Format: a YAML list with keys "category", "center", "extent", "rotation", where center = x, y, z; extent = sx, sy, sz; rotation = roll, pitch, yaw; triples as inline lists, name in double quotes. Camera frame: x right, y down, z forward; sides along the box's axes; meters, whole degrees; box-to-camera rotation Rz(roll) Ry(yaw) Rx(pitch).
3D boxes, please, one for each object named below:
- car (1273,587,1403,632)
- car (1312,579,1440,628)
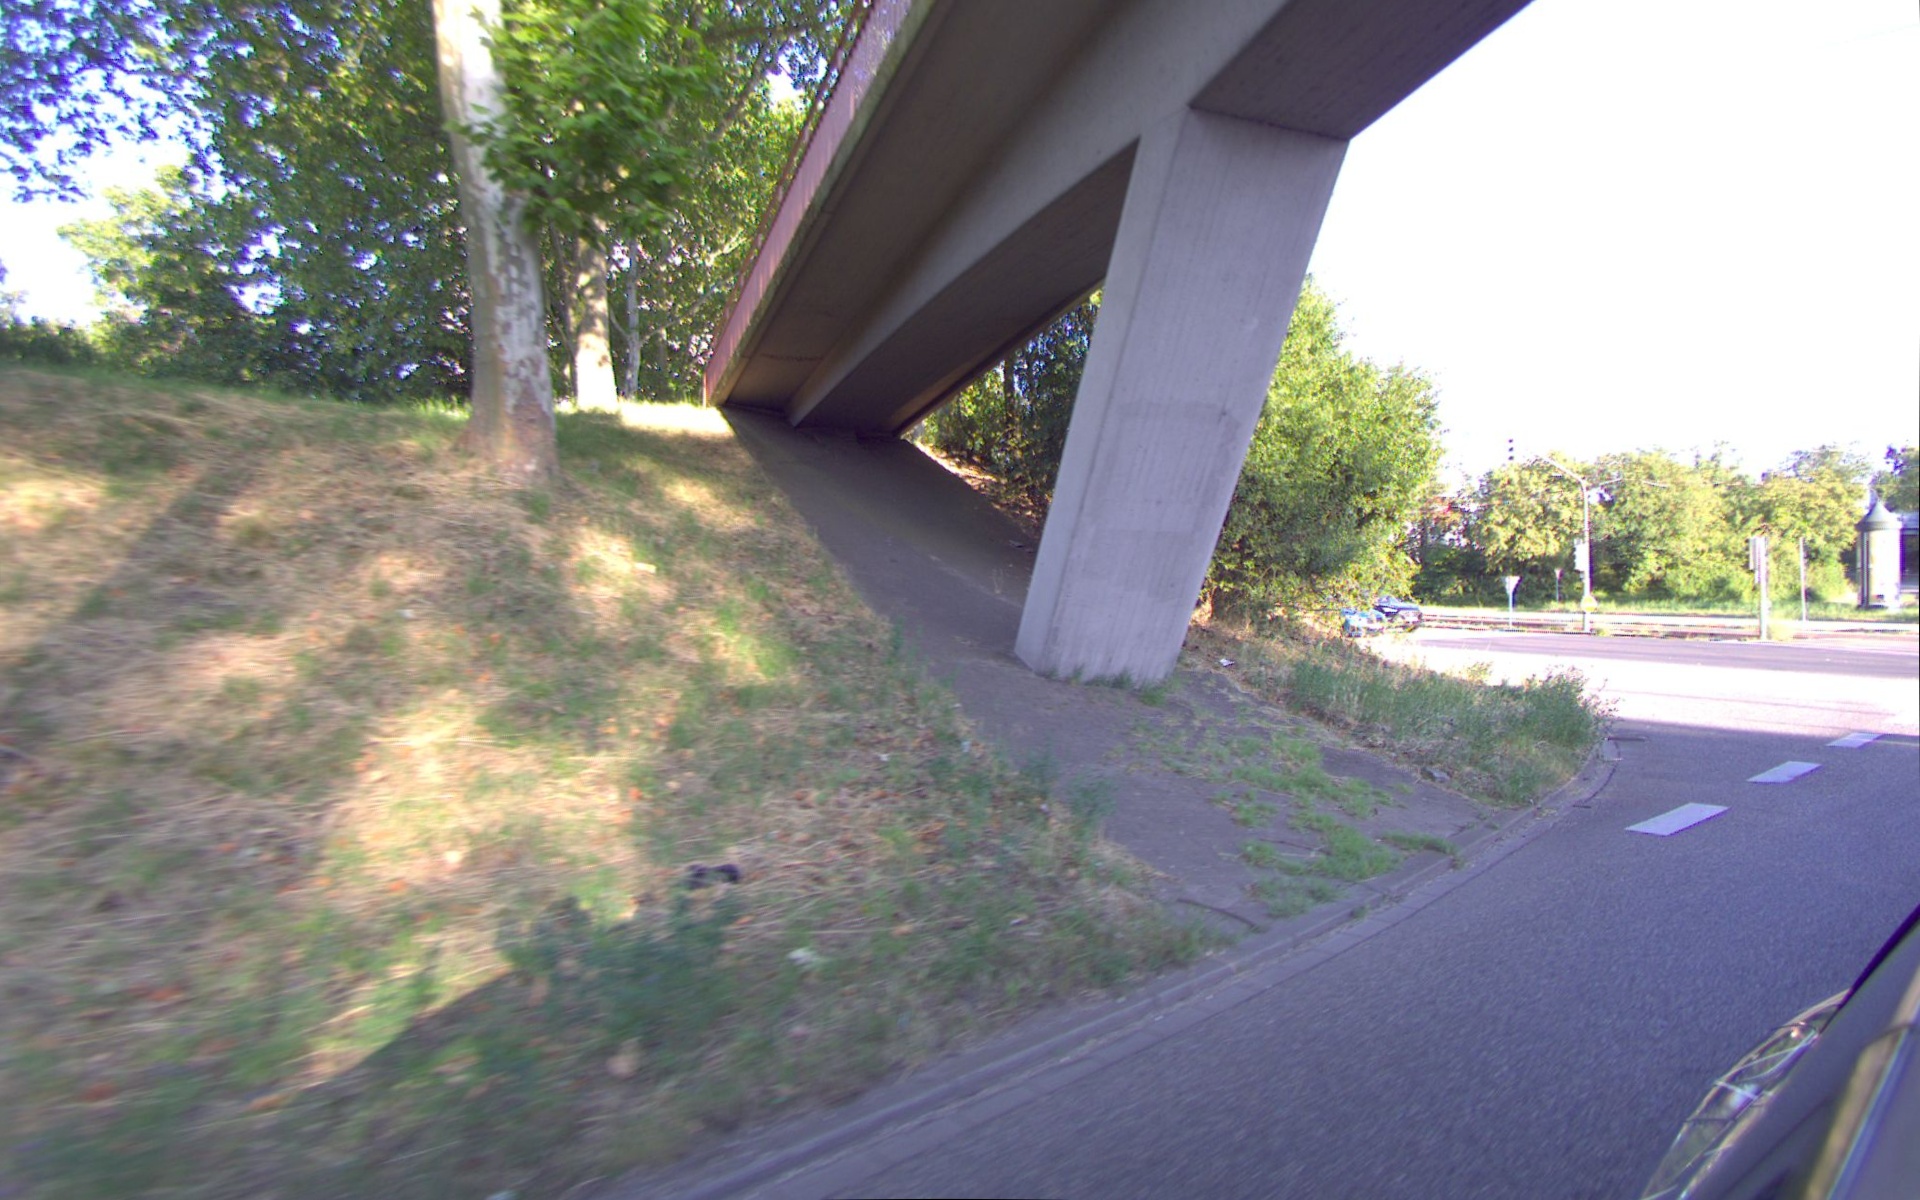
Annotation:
- category: "car"
  center: [13.086, 0.276, 35.393]
  extent: [1.752, 1.435, 4.523]
  rotation: [-1, 1, -20]
- category: "car"
  center: [15.518, 0.068, 38.045]
  extent: [1.881, 1.702, 4.611]
  rotation: [-1, 1, -18]
